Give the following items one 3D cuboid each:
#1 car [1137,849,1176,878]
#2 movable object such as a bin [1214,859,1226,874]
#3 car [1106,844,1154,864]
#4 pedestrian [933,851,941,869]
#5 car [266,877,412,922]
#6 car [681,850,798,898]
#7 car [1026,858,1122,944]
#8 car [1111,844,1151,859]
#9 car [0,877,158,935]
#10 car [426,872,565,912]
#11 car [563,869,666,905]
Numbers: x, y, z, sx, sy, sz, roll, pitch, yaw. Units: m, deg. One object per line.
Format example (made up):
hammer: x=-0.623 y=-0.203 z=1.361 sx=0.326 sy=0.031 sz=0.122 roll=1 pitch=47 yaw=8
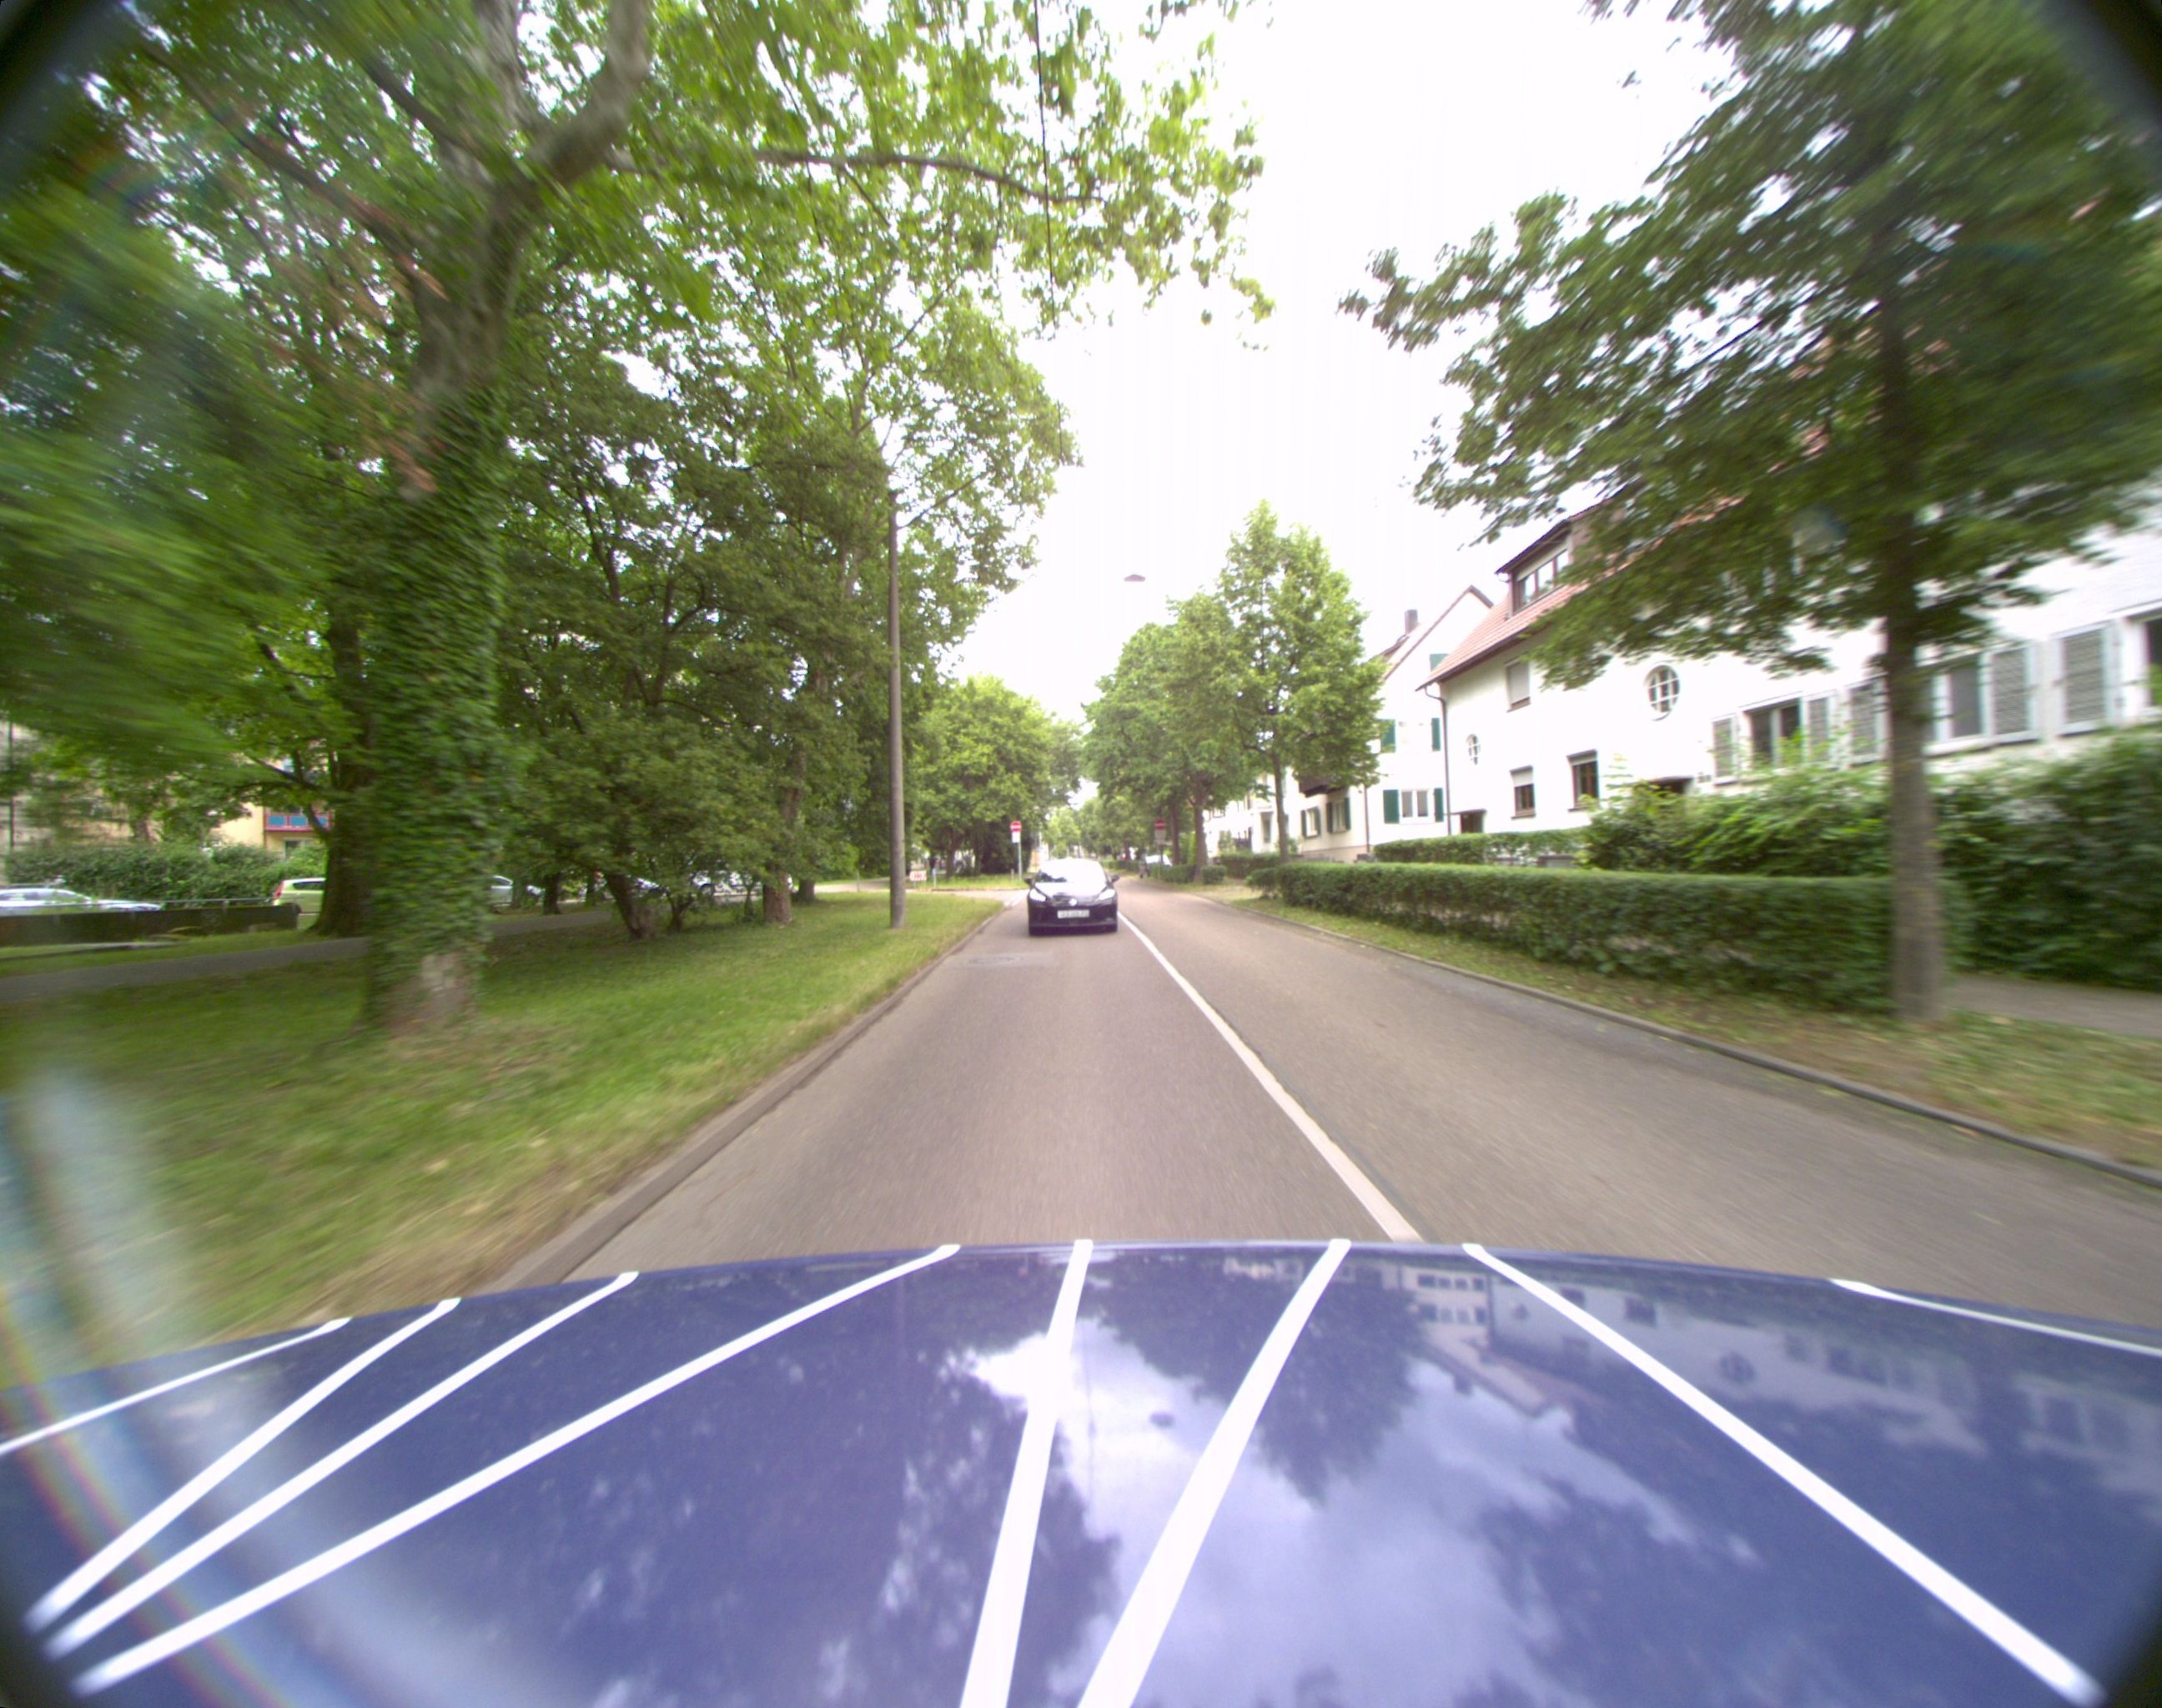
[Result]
car: x=5.009 y=0.613 z=51.095 sx=1.830 sy=1.743 sz=4.451 roll=-3 pitch=0 yaw=-4
movable object such as a bin: x=8.860 y=0.783 z=48.524 sx=0.561 sy=0.935 sz=0.640 roll=-1 pitch=0 yaw=-6
car: x=8.530 y=-0.064 z=132.075 sx=7.792 sy=3.256 sz=2.435 roll=-2 pitch=1 yaw=-10
pedestrian: x=-13.686 y=0.541 z=72.098 sx=0.650 sy=1.651 sz=0.649 roll=-1 pitch=0 yaw=-11
car: x=-29.355 y=1.743 z=30.152 sx=1.795 sy=1.501 sz=4.008 roll=-2 pitch=-1 yaw=42
car: x=-18.096 y=1.034 z=40.368 sx=5.335 sy=2.285 sz=2.287 roll=-2 pitch=0 yaw=-33
car: x=-0.169 y=0.909 z=16.784 sx=1.799 sy=1.552 sz=4.470 roll=-2 pitch=0 yaw=-1
car: x=8.401 y=-0.374 z=126.632 sx=6.378 sy=2.334 sz=1.973 roll=-2 pitch=0 yaw=-24
car: x=-33.567 y=1.684 z=24.949 sx=1.795 sy=1.664 sz=4.008 roll=-2 pitch=0 yaw=43
car: x=-25.814 y=1.642 z=33.612 sx=1.795 sy=1.501 sz=4.613 roll=-2 pitch=-1 yaw=44
car: x=-22.565 y=1.553 z=36.811 sx=4.008 sy=1.501 sz=1.795 roll=-2 pitch=0 yaw=-40
